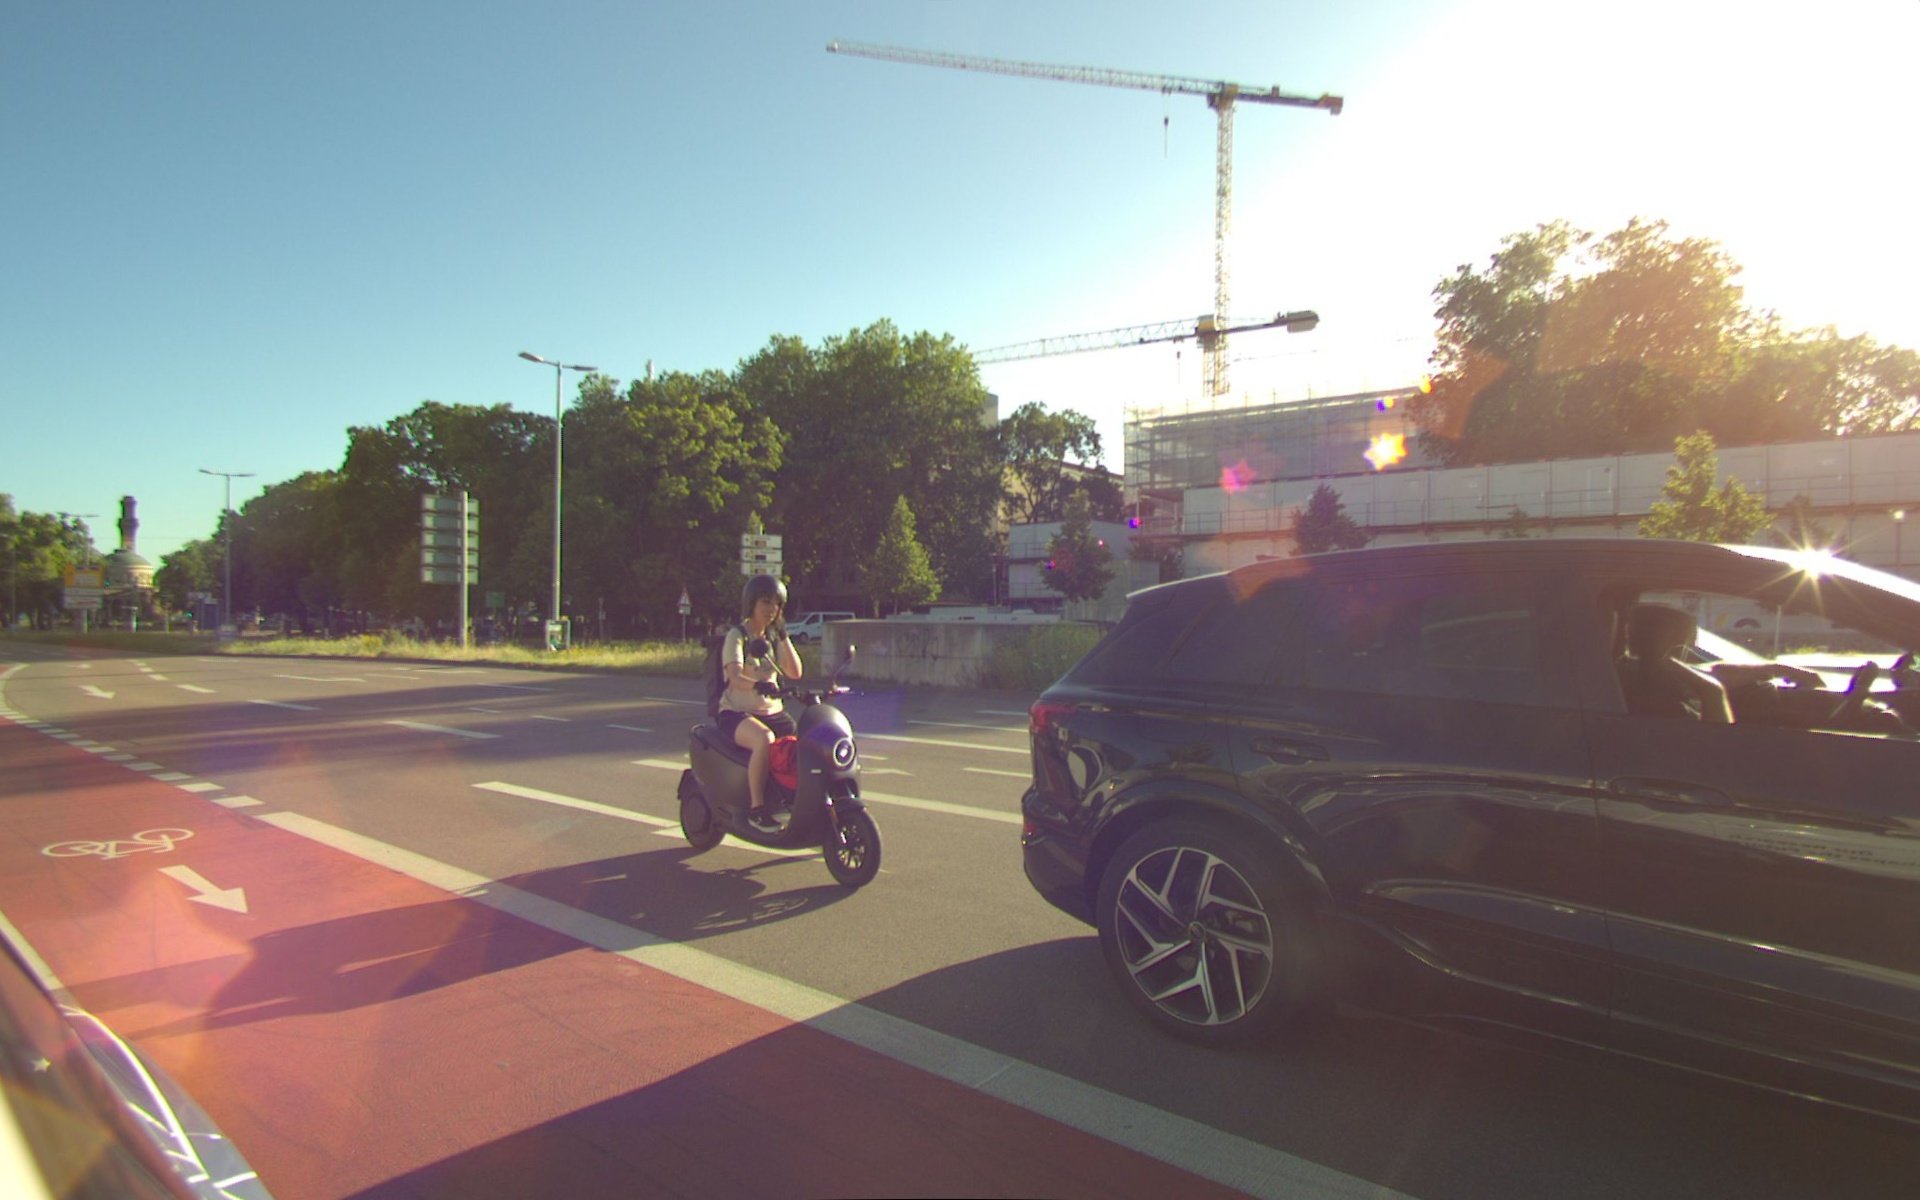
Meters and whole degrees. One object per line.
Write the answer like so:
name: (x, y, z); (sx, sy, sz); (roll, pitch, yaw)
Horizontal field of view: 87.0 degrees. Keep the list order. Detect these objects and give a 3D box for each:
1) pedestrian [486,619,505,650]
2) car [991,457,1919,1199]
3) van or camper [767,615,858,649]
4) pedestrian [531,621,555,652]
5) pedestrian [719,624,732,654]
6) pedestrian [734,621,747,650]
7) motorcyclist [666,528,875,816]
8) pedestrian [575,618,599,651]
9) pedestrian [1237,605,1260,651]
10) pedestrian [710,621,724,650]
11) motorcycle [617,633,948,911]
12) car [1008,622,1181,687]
pedestrian: (-31.300, 2.329, 68.253); (0.828, 2.029, 0.957); (-1, 0, -1)
car: (2.590, 0.550, 3.147); (4.661, 1.720, 2.144); (-1, -1, 40)
van or camper: (-8.963, 1.925, 61.891); (1.951, 1.960, 5.425); (-2, -2, 44)
pedestrian: (-26.621, 2.316, 64.609); (1.054, 1.978, 0.942); (-1, 0, 26)
pedestrian: (-12.185, 2.034, 52.625); (0.494, 1.522, 0.492); (-1, -2, 41)
pedestrian: (-11.601, 1.864, 53.451); (0.494, 1.522, 0.492); (-1, -2, 41)
motorcyclist: (-1.080, 0.381, 5.795); (0.877, 1.475, 0.813); (-1, -2, 41)
pedestrian: (-22.797, 2.099, 61.867); (0.815, 1.978, 1.111); (-1, 0, 41)
pedestrian: (10.223, 0.981, 35.841); (0.597, 1.614, 0.580); (-1, 0, 38)
pedestrian: (-12.542, 1.831, 52.158); (0.494, 1.522, 0.492); (-1, -2, 41)
motorcycle: (-1.057, 0.842, 5.732); (1.943, 1.290, 0.817); (-1, -2, 41)
car: (3.319, 1.311, 25.396); (3.979, 1.492, 1.857); (-1, -2, 41)
